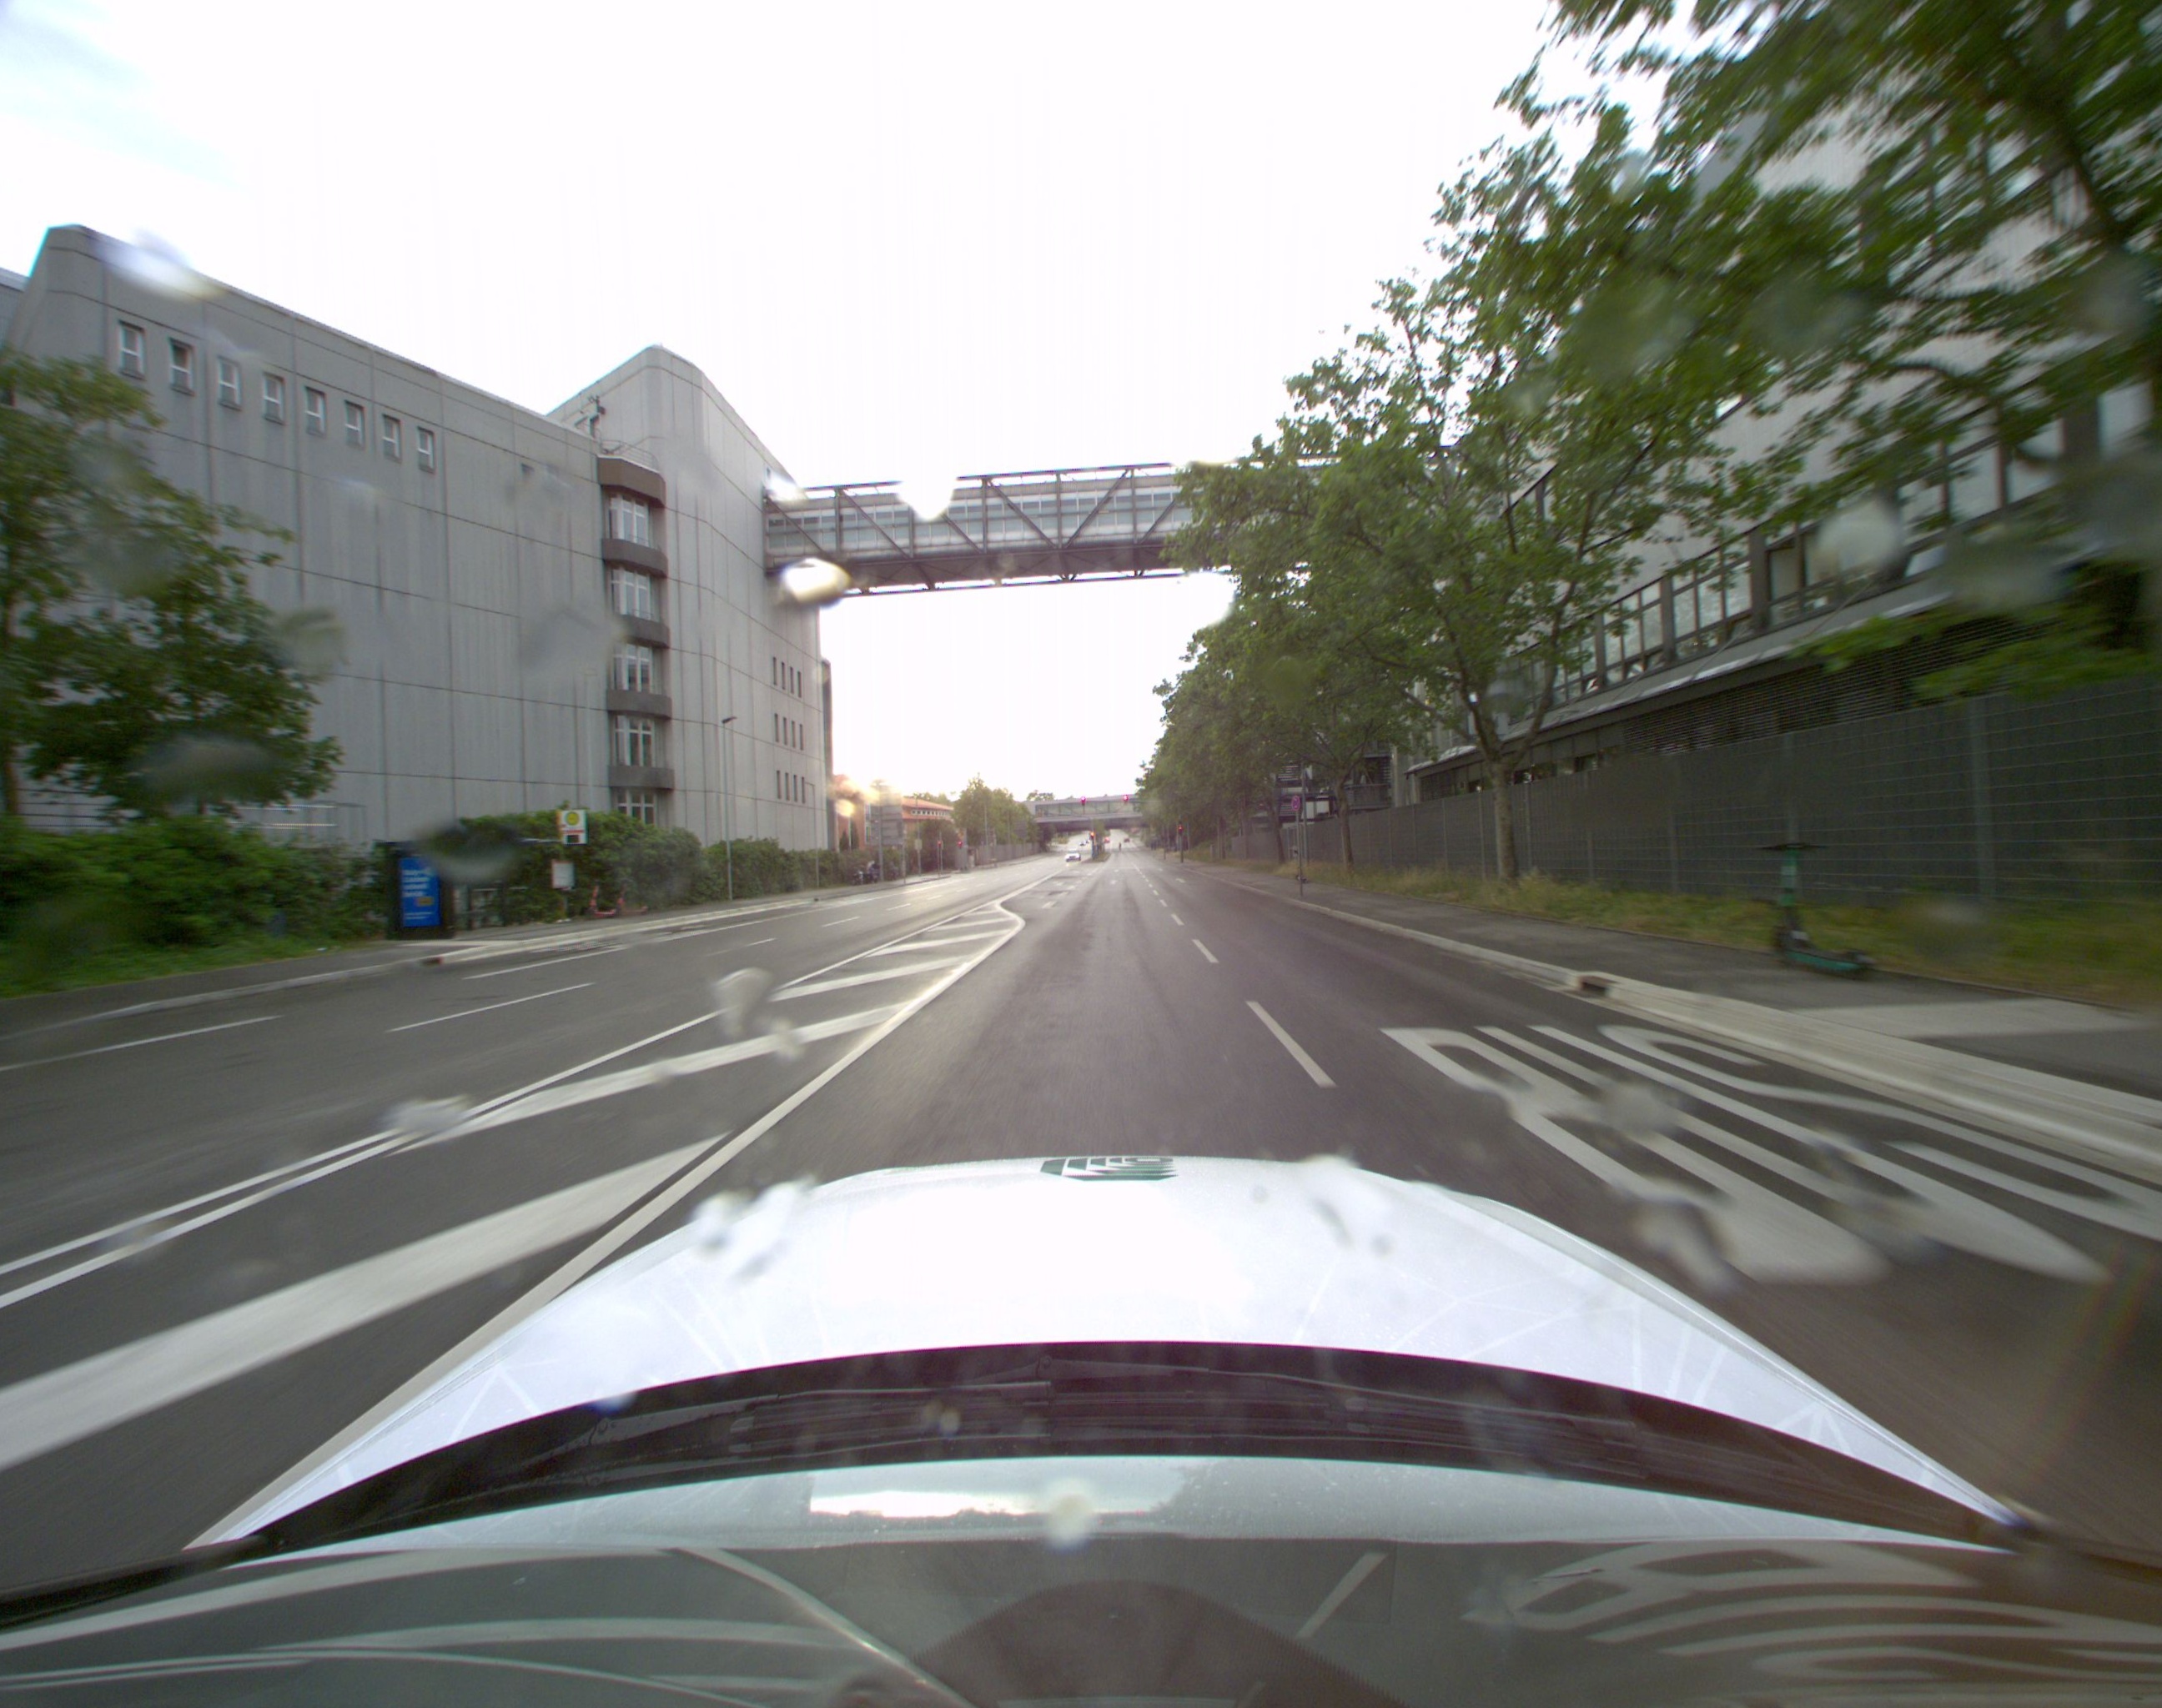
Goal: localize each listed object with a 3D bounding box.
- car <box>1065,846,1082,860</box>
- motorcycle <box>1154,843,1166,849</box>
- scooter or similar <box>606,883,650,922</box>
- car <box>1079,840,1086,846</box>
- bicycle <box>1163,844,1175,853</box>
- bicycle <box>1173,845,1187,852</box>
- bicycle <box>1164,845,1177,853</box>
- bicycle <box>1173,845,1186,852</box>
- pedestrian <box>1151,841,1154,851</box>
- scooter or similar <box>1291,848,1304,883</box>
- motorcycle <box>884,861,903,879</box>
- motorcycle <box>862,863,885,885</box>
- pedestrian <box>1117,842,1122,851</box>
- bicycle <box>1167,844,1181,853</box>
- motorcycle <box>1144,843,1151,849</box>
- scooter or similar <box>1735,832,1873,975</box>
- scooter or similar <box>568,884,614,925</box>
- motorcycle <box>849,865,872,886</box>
[{"bbox_3d":[-0.964,-0.139,105.758,1.869,1.624,3.782,-3,0,3],"label":"car"},{"bbox_3d":[16.191,-1.662,166.633,2.354,1.202,0.724,-4,0,10],"label":"motorcycle"},{"bbox_3d":[-15.031,1.610,27.064,0.375,1.181,1.383,-3,0,16],"label":"scooter or similar"},{"bbox_3d":[0.373,-3.448,258.277,1.869,1.624,3.782,-3,0,3],"label":"car"},{"bbox_3d":[14.306,-0.870,132.669,1.981,1.430,0.723,-1,-1,3],"label":"bicycle"},{"bbox_3d":[14.406,-0.789,118.932,1.981,1.094,0.542,-1,-1,3],"label":"bicycle"},{"bbox_3d":[14.658,-0.817,133.506,1.981,1.328,0.577,-1,-1,3],"label":"bicycle"},{"bbox_3d":[14.440,-0.786,119.500,1.981,1.094,0.542,-1,-1,3],"label":"bicycle"},{"bbox_3d":[13.753,-1.521,156.638,0.619,2.013,0.606,-4,0,3],"label":"pedestrian"},{"bbox_3d":[8.119,0.436,30.536,0.326,1.269,1.112,-3,0,11],"label":"scooter or similar"},{"bbox_3d":[-13.980,1.216,60.722,0.781,1.247,2.159,-3,0,2],"label":"motorcycle"},{"bbox_3d":[-14.050,1.352,55.221,0.781,1.347,2.371,-3,0,2],"label":"motorcycle"},{"bbox_3d":[8.716,-1.777,183.533,0.864,2.004,0.859,-4,0,20],"label":"pedestrian"},{"bbox_3d":[13.846,-0.831,120.993,1.981,1.216,0.542,-1,-1,3],"label":"bicycle"},{"bbox_3d":[15.659,-1.973,190.576,0.791,1.311,2.364,-4,0,-15],"label":"motorcycle"},{"bbox_3d":[7.168,0.458,8.136,0.327,1.308,1.248,-3,0,7],"label":"scooter or similar"},{"bbox_3d":[-15.317,1.576,25.497,0.385,1.180,1.256,-3,0,16],"label":"scooter or similar"},{"bbox_3d":[-14.298,1.398,52.787,0.781,1.250,2.159,-3,0,2],"label":"motorcycle"}]
